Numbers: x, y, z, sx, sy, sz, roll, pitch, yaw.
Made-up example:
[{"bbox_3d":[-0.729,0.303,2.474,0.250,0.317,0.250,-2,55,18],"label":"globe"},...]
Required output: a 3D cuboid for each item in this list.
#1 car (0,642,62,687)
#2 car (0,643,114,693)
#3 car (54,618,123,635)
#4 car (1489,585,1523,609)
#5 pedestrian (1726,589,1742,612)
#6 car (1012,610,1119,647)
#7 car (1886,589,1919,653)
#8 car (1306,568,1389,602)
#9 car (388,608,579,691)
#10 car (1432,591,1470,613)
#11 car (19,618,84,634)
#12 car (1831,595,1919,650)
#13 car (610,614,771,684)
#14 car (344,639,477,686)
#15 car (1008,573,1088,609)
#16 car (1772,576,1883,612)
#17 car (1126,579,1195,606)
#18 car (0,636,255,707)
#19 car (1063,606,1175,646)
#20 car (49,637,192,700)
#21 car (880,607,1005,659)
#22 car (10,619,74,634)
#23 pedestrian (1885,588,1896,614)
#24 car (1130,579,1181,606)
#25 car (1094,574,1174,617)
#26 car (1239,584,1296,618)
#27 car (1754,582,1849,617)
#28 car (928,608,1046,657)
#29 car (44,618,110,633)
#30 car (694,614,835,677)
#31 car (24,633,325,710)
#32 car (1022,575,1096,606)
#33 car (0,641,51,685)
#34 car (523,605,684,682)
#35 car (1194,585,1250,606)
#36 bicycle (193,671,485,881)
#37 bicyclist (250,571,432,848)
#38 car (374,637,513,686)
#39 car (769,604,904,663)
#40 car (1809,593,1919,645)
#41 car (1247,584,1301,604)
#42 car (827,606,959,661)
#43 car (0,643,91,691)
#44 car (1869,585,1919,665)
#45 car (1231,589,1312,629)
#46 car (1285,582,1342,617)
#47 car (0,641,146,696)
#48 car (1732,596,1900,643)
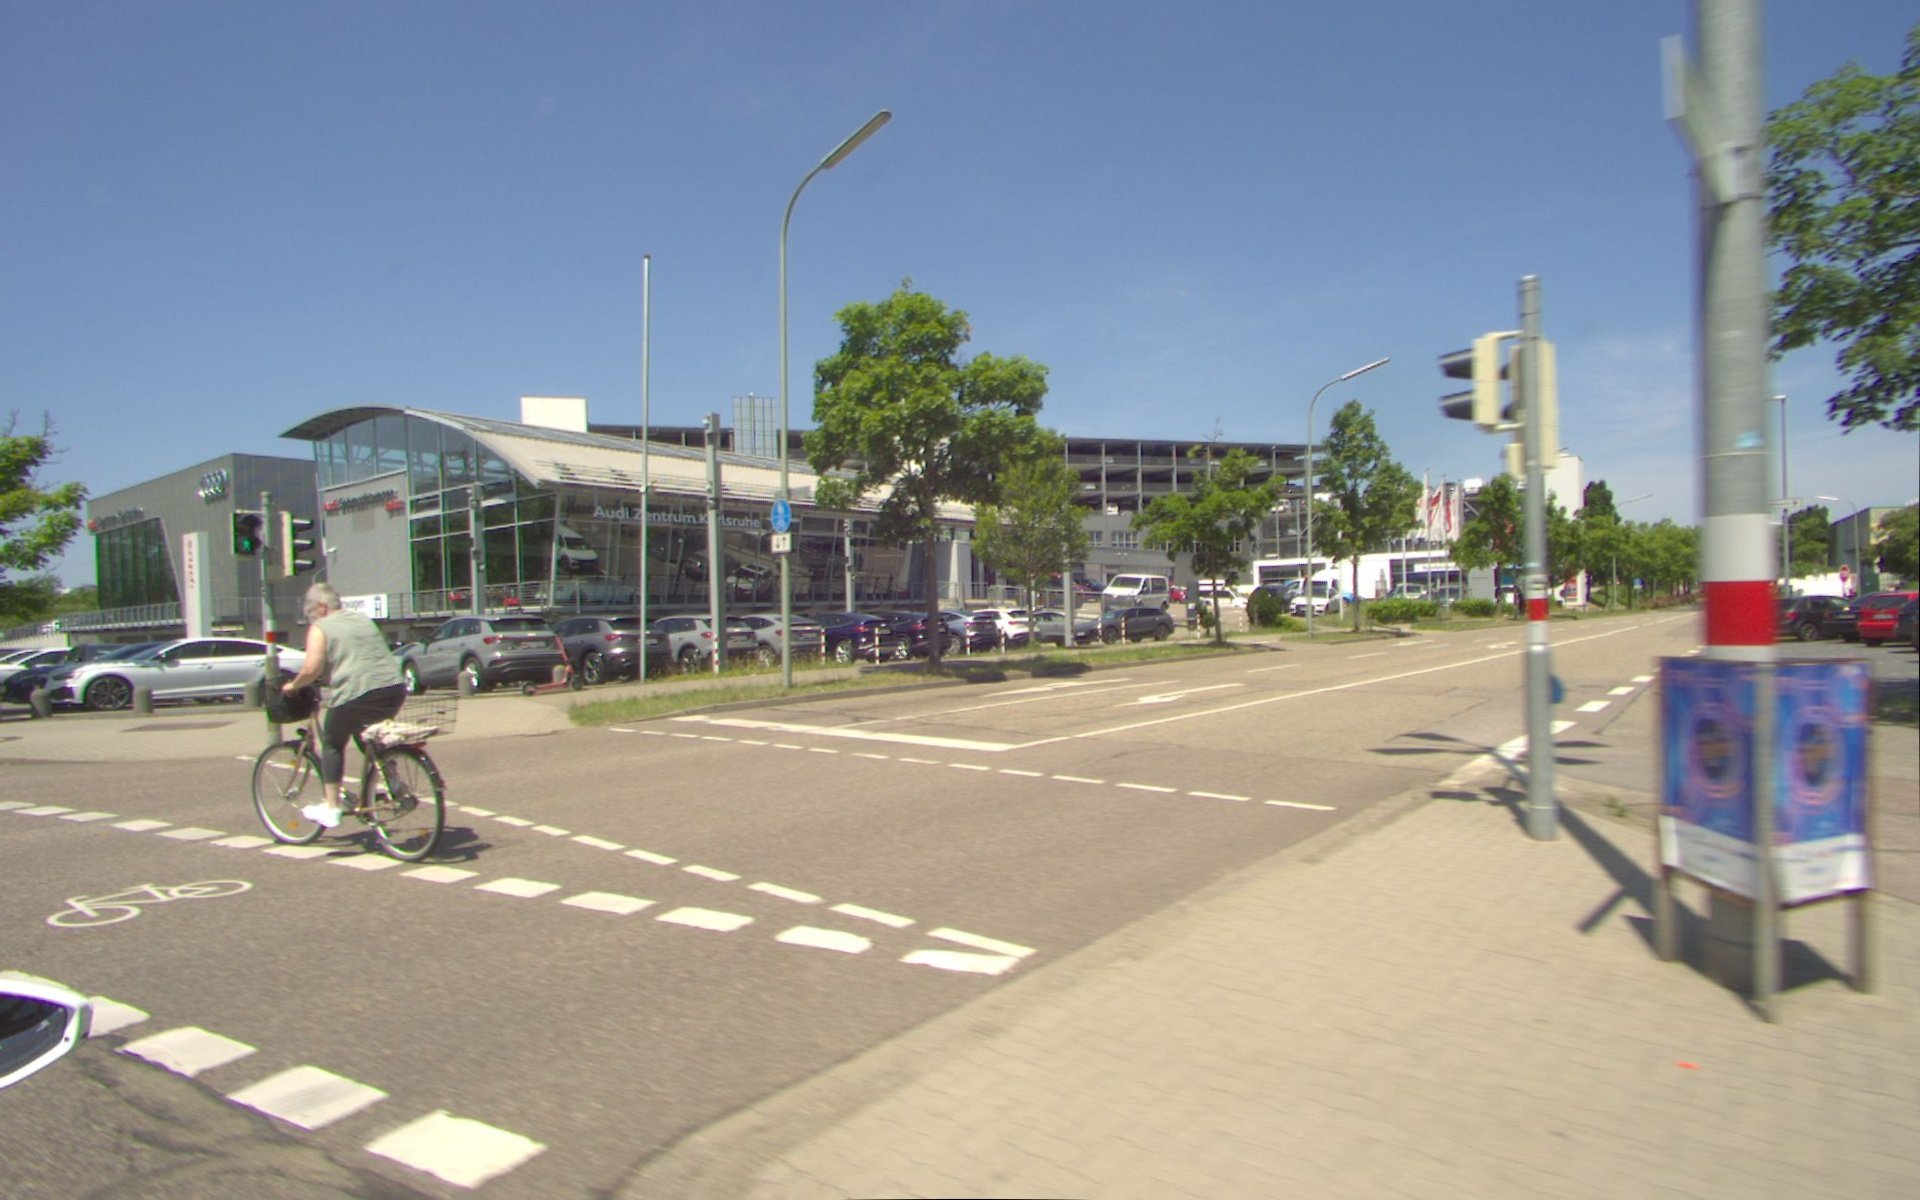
[{"bbox_3d":[-31.164,2.033,31.477,1.845,1.422,4.089,-2,-3,36],"label":"car"},{"bbox_3d":[-26.748,1.903,28.239,1.845,1.365,4.088,-2,-3,36],"label":"car"},{"bbox_3d":[-71.801,2.236,82.568,1.772,1.328,3.981,-2,-3,32],"label":"car"},{"bbox_3d":[47.825,-0.281,87.678,1.897,2.040,3.969,-1,0,39],"label":"car"},{"bbox_3d":[58.932,0.016,76.251,0.864,1.699,0.751,-1,0,41],"label":"pedestrian"},{"bbox_3d":[4.744,1.244,45.023,4.521,1.491,1.904,-1,0,-30],"label":"car"},{"bbox_3d":[24.029,0.432,23.044,3.924,1.458,1.919,-1,-1,-8],"label":"car"},{"bbox_3d":[24.216,-0.903,62.684,4.527,1.911,1.902,-2,0,35],"label":"car"},{"bbox_3d":[-10.319,1.079,21.560,4.449,1.578,1.861,-4,-1,38],"label":"car"},{"bbox_3d":[36.958,0.145,75.381,1.761,1.541,3.660,-2,0,39],"label":"car"},{"bbox_3d":[-81.592,2.348,89.942,1.772,1.328,3.981,-2,-3,32],"label":"car"},{"bbox_3d":[25.624,0.552,26.409,3.924,1.371,1.919,-1,0,-8],"label":"car"},{"bbox_3d":[-6.989,1.270,25.900,3.942,1.675,1.842,-2,-3,32],"label":"car"},{"bbox_3d":[-20.151,2.260,36.832,1.635,1.642,3.974,-2,-3,36],"label":"car"},{"bbox_3d":[4.592,-0.445,51.755,1.891,1.730,4.554,-2,0,39],"label":"car"},{"bbox_3d":[69.646,-0.422,80.626,6.615,2.552,2.203,-2,-2,39],"label":"car"},{"bbox_3d":[14.527,-0.528,72.566,4.532,1.821,1.900,-2,0,38],"label":"car"},{"bbox_3d":[-18.175,1.518,21.951,1.845,1.407,4.085,-2,-3,36],"label":"car"},{"bbox_3d":[6.812,1.084,42.761,4.548,1.491,1.841,-2,1,-30],"label":"car"},{"bbox_3d":[-20.930,1.663,24.905,4.606,1.437,1.856,-2,-3,38],"label":"car"},{"bbox_3d":[-0.613,1.163,34.419,3.942,1.675,1.842,-2,-3,32],"label":"car"},{"bbox_3d":[-84.289,2.425,92.006,1.772,1.329,3.979,-2,-1,32],"label":"car"},{"bbox_3d":[58.205,0.054,62.638,0.400,1.580,0.545,-1,0,37],"label":"pedestrian"},{"bbox_3d":[13.491,-0.486,68.969,1.862,1.728,3.972,-2,-1,37],"label":"car"},{"bbox_3d":[8.585,-0.212,48.959,1.887,1.992,5.222,-1,0,33],"label":"car"},{"bbox_3d":[17.073,0.079,55.519,1.973,1.727,3.978,-2,-2,34],"label":"car"},{"bbox_3d":[53.953,-0.013,64.320,4.519,2.039,1.987,-2,-2,37],"label":"car"},{"bbox_3d":[0.960,1.227,36.625,3.942,1.675,1.842,-2,-3,32],"label":"car"},{"bbox_3d":[-75.862,2.169,86.040,1.693,1.226,3.932,-2,-2,32],"label":"car"},{"bbox_3d":[-5.424,1.193,27.722,3.763,1.637,1.633,0,0,32],"label":"car"},{"bbox_3d":[-16.016,1.425,20.651,1.846,1.407,4.576,-2,-3,38],"label":"car"},{"bbox_3d":[6.071,-0.553,61.594,4.087,1.744,1.905,-2,0,29],"label":"car"},{"bbox_3d":[-33.344,2.116,33.478,1.845,1.471,4.089,-2,-3,36],"label":"car"},{"bbox_3d":[-8.459,1.046,23.621,3.952,1.675,1.837,-2,-3,40],"label":"car"},{"bbox_3d":[22.377,-0.365,85.577,4.300,1.674,1.902,-2,0,35],"label":"car"},{"bbox_3d":[-3.962,1.050,6.364,1.863,1.148,0.628,-1,0,24],"label":"bicycle"},{"bbox_3d":[-3.905,0.663,6.340,0.812,1.626,0.628,-1,-1,23],"label":"bicyclist"},{"bbox_3d":[-18.139,2.147,35.282,1.827,1.618,3.974,-2,-3,36],"label":"car"},{"bbox_3d":[-3.732,1.019,29.985,3.856,1.675,1.625,-2,-1,32],"label":"car"},{"bbox_3d":[27.108,0.514,28.881,3.924,1.393,1.874,-1,0,-8],"label":"car"},{"bbox_3d":[28.837,-0.510,91.974,4.303,1.674,1.900,-2,0,38],"label":"car"},{"bbox_3d":[-2.183,1.125,32.318,3.942,1.675,1.842,-2,-3,32],"label":"car"},{"bbox_3d":[-28.797,1.985,29.734,1.845,1.407,4.214,-2,-3,36],"label":"car"},{"bbox_3d":[21.370,0.471,20.572,3.924,1.610,1.919,-1,0,-8],"label":"car"},{"bbox_3d":[13.993,0.382,44.863,1.891,1.717,4.554,-2,0,39],"label":"car"},{"bbox_3d":[19.145,0.027,54.166,1.973,1.727,3.978,-2,-2,34],"label":"car"},{"bbox_3d":[-24.414,1.788,26.525,1.850,1.381,4.085,-2,-3,36],"label":"car"},{"bbox_3d":[27.038,0.596,31.690,3.924,1.350,1.919,-1,0,-8],"label":"car"}]
